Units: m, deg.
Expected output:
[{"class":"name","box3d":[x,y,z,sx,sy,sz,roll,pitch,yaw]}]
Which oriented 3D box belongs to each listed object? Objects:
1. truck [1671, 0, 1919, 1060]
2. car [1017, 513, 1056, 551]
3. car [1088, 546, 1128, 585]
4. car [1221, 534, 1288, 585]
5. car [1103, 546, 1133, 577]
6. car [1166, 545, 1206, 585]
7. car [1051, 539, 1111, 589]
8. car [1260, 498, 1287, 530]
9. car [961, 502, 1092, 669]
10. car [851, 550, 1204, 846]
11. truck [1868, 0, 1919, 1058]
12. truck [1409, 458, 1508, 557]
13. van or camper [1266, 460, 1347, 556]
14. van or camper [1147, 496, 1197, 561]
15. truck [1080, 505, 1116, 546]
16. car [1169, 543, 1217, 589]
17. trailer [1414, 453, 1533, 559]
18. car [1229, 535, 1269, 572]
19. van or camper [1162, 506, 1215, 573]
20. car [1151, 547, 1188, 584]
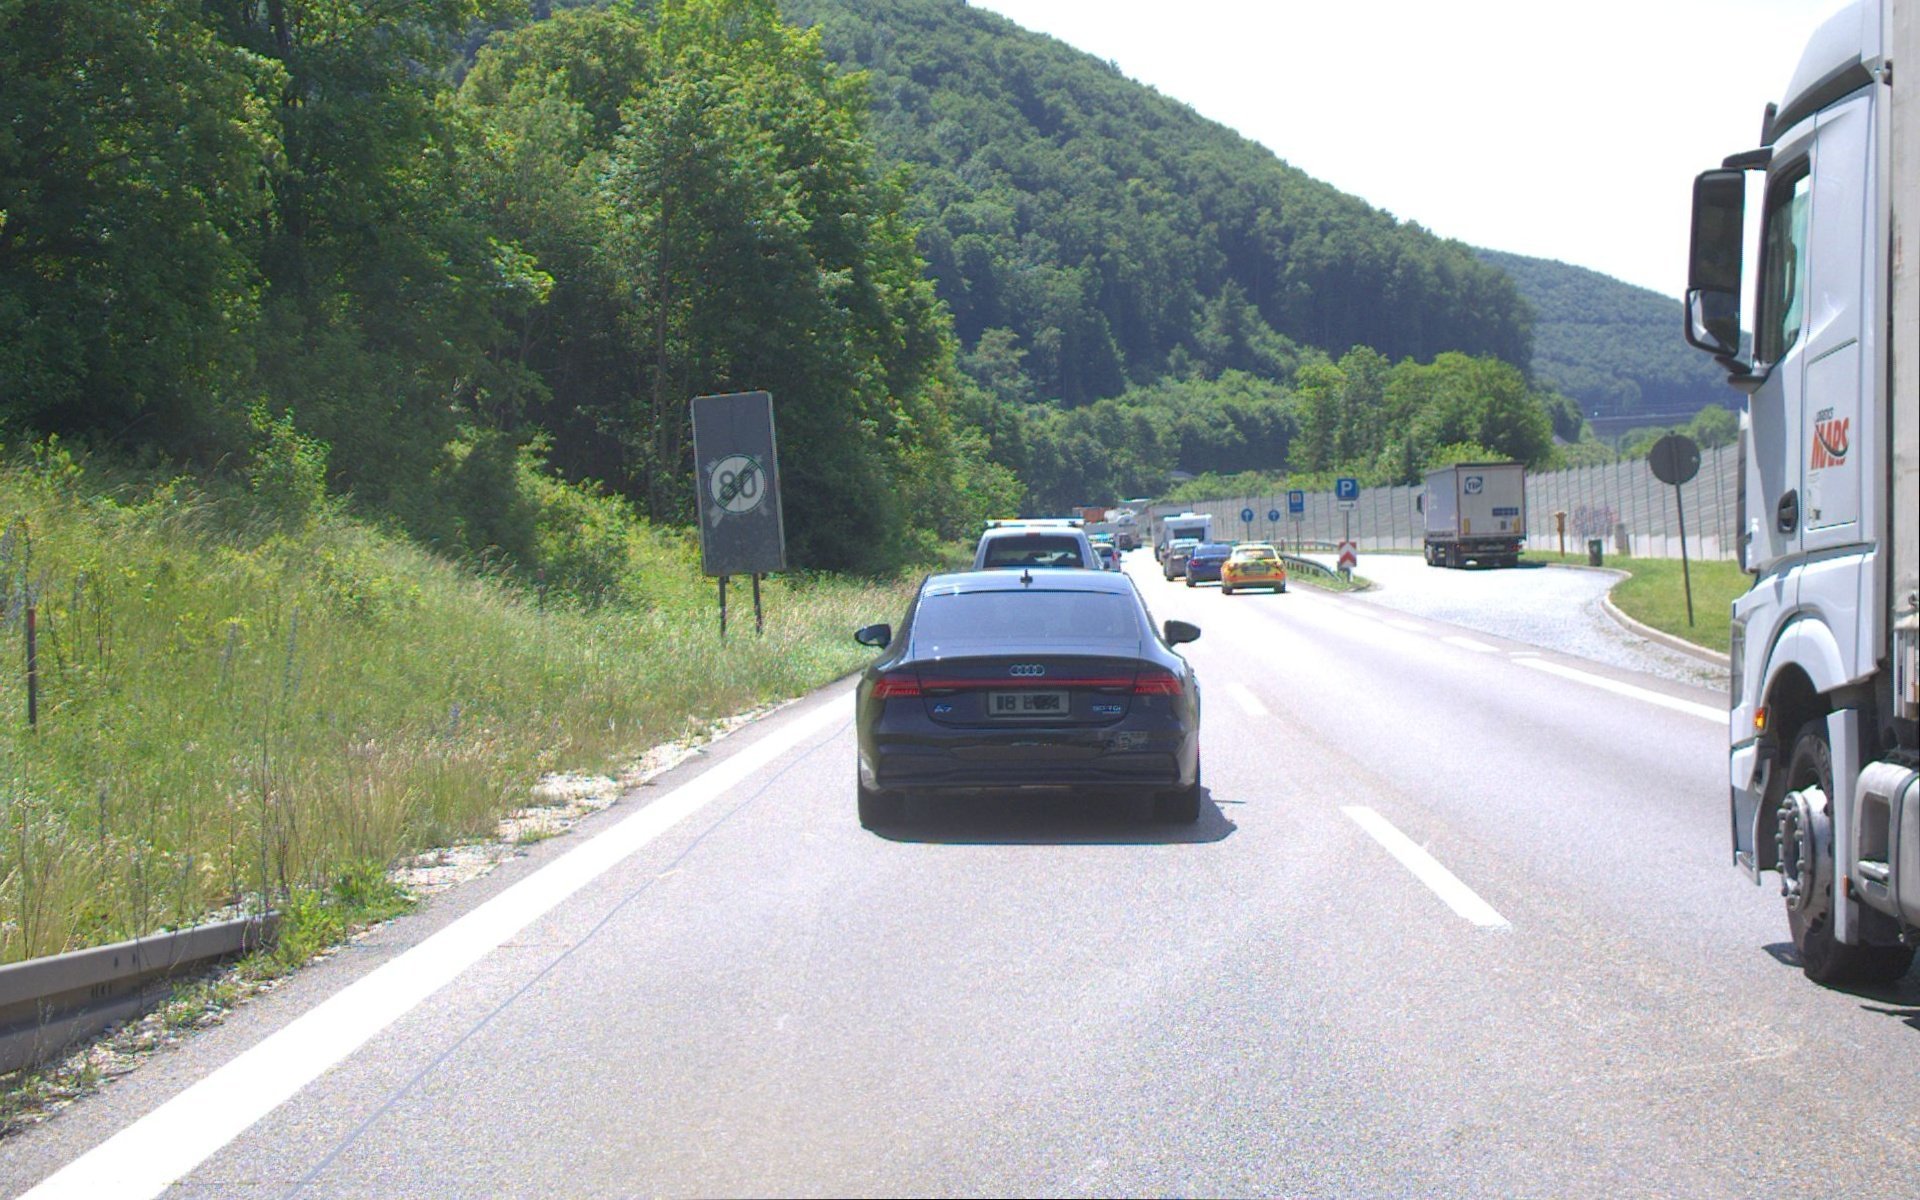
[{"class":"truck","box3d":[4.182,-0.675,10.663,2.719,4.054,5.754,0,0,0]},{"class":"car","box3d":[2.989,-2.627,133.286,1.332,1.443,3.020,-1,1,4]},{"class":"car","box3d":[6.079,-1.407,140.923,1.521,1.548,3.514,2,1,4]},{"class":"car","box3d":[8.811,-1.222,103.062,1.879,1.493,4.000,-1,1,3]},{"class":"car","box3d":[8.321,-2.016,181.023,1.521,1.548,3.514,2,1,3]},{"class":"car","box3d":[8.991,-1.385,137.021,1.530,1.520,3.596,1,0,3]},{"class":"car","box3d":[3.361,-1.007,96.072,1.521,1.290,3.514,2,1,0]},{"class":"car","box3d":[20.301,-5.547,222.756,1.576,2.007,3.428,-1,1,3]},{"class":"car","box3d":[0.861,-0.189,42.933,1.521,1.961,3.514,2,1,2]},{"class":"car","box3d":[0.418,0.484,19.514,1.812,1.509,3.514,-1,1,2]},{"class":"truck","box3d":[4.243,-0.652,3.781,2.726,4.054,13.742,0,0,-1]},{"class":"truck","box3d":[20.098,-3.722,138.923,3.412,3.887,5.387,-1,1,2]},{"class":"van or camper","box3d":[14.429,-3.790,143.602,2.795,3.828,6.167,1,0,1]},{"class":"van or camper","box3d":[13.186,-4.426,214.589,2.795,3.894,6.167,1,0,1]},{"class":"truck","box3d":[9.210,-4.957,229.100,2.065,2.597,5.613,2,1,5]},{"class":"car","box3d":[7.928,-1.162,117.241,1.530,1.520,3.596,1,0,3]},{"class":"trailer","box3d":[19.893,-3.610,133.881,3.412,3.887,11.151,-1,1,2]},{"class":"car","box3d":[15.855,-2.570,188.687,1.993,2.007,4.000,-1,1,2]},{"class":"van or camper","box3d":[11.017,-2.888,165.831,2.429,3.144,5.203,1,0,3]},{"class":"car","box3d":[11.848,-1.955,194.779,1.994,2.007,4.000,1,0,2]}]
